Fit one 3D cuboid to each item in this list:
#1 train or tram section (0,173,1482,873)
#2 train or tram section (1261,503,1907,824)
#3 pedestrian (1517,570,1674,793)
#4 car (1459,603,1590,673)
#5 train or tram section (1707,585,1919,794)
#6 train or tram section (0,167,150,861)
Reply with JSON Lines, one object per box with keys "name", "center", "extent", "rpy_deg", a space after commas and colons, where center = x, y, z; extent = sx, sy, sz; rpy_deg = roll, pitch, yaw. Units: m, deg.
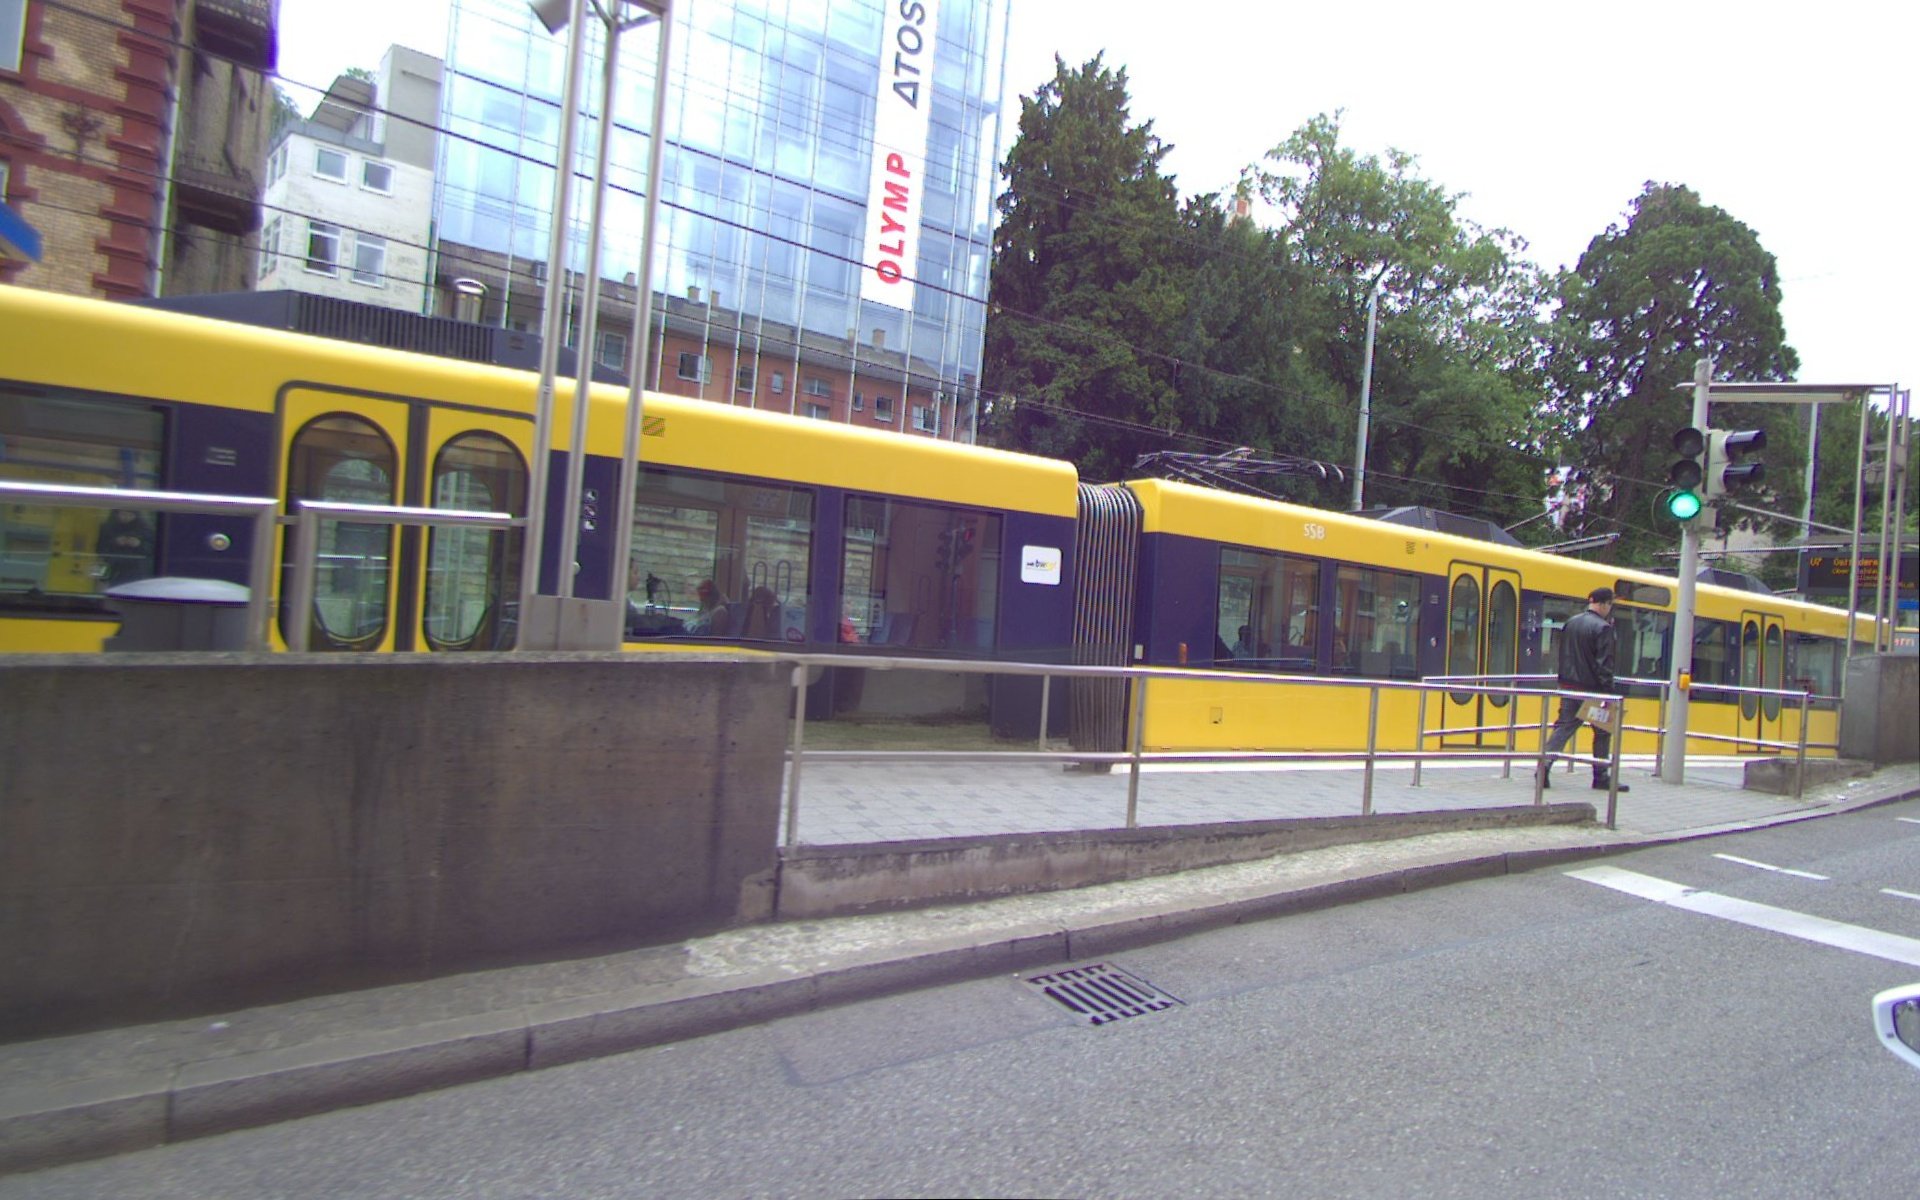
{"name": "train or tram section", "center": [-0.281, 0.130, 9.315], "extent": [12.079, 3.516, 2.935], "rpy_deg": [6, -2, -30]}
{"name": "train or tram section", "center": [10.103, 1.085, 15.350], "extent": [12.077, 3.529, 2.935], "rpy_deg": [5, -1, -30]}
{"name": "pedestrian", "center": [5.445, 0.660, 8.623], "extent": [0.809, 1.801, 0.796], "rpy_deg": [2, 1, -30]}
{"name": "car", "center": [18.546, 1.244, 32.967], "extent": [3.956, 2.040, 1.982], "rpy_deg": [3, 2, -32]}
{"name": "train or tram section", "center": [20.868, 1.873, 21.608], "extent": [12.838, 3.554, 2.935], "rpy_deg": [4, -1, -31]}
{"name": "train or tram section", "center": [-10.831, -0.839, 3.228], "extent": [12.255, 3.589, 2.935], "rpy_deg": [5, -1, -30]}
